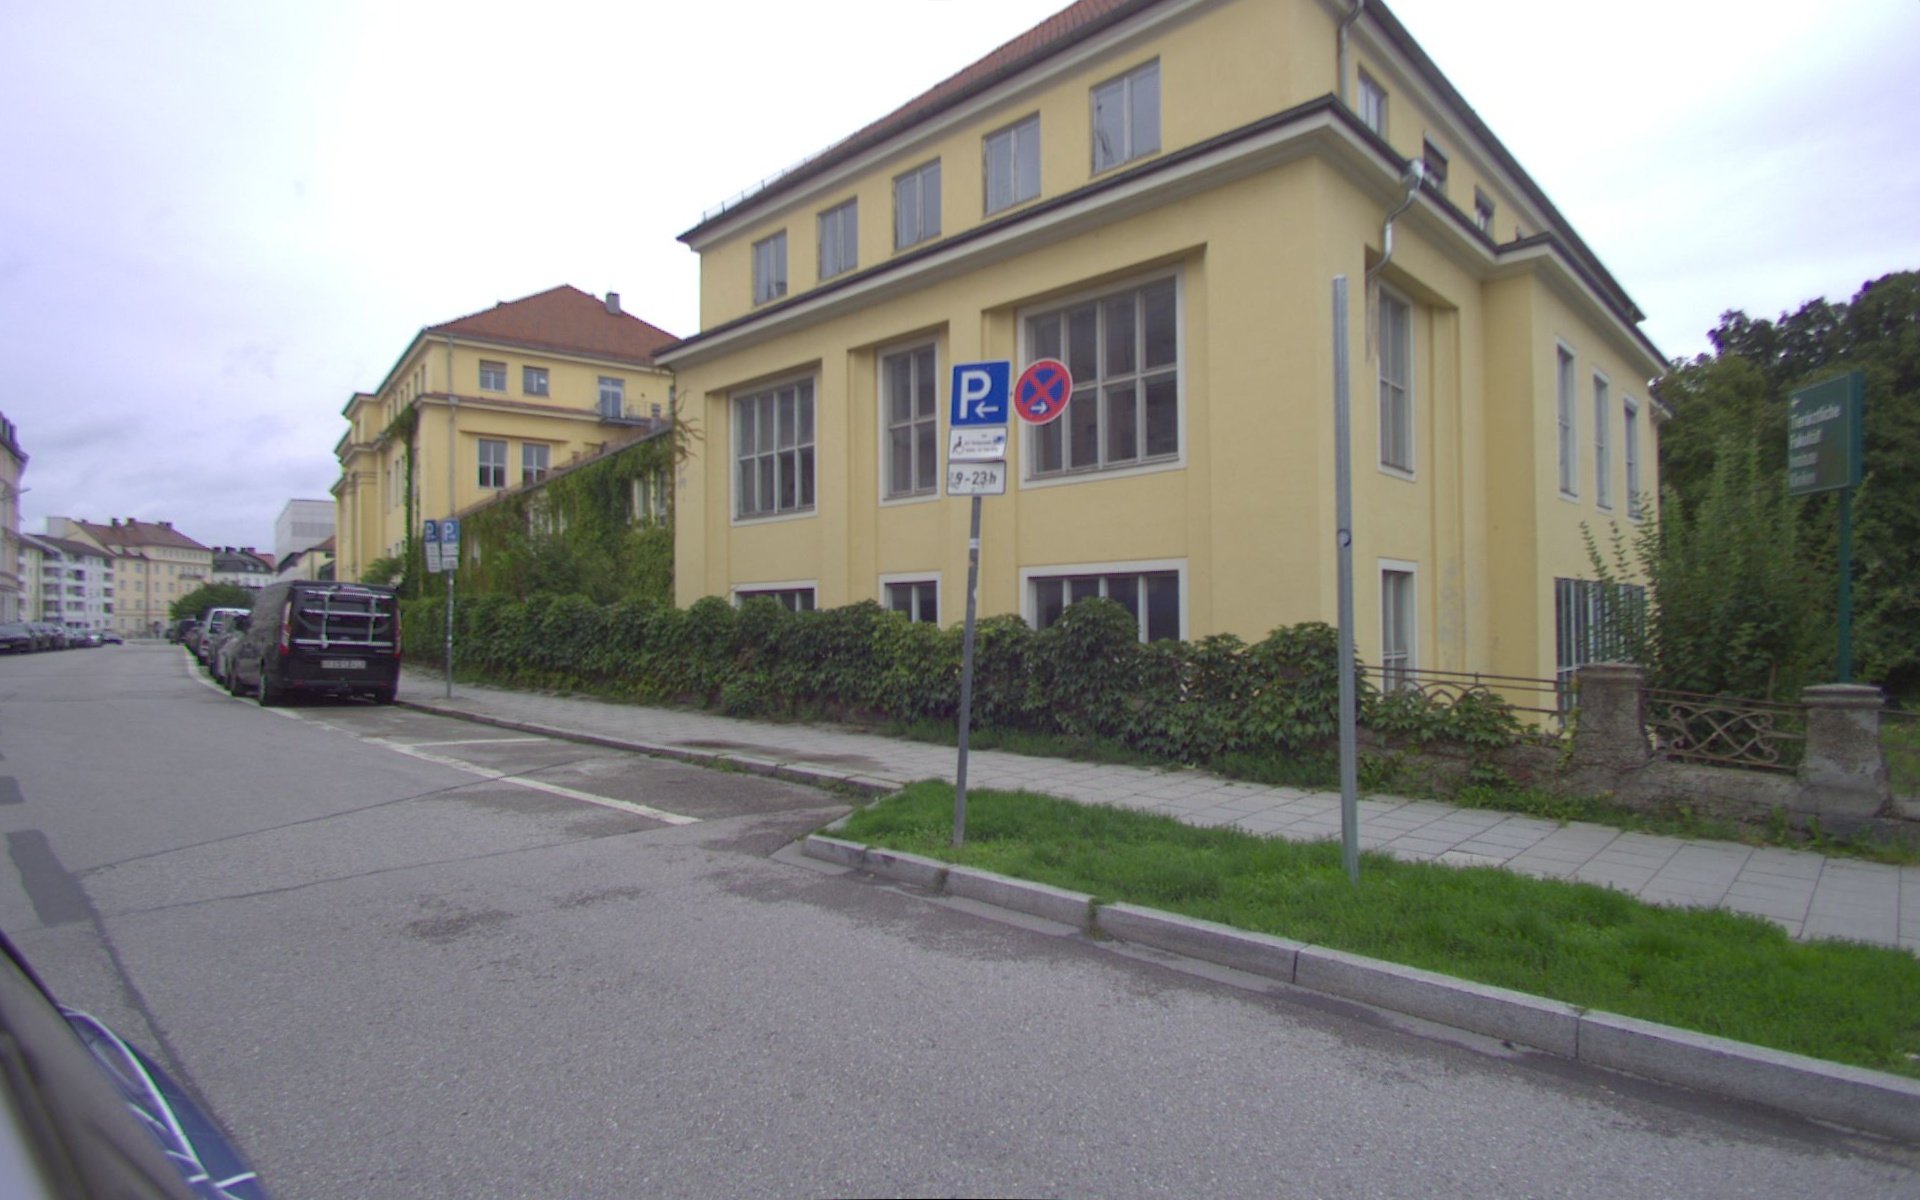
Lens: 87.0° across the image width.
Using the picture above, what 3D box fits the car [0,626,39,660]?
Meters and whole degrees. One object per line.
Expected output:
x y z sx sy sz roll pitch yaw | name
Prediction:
-43.981 2.006 46.753 1.849 1.458 4.708 -1 -1 -39 | car

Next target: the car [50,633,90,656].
-62.774 3.153 71.402 1.698 1.477 4.202 -2 -1 -36 | car

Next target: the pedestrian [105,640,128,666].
-98.224 6.157 117.841 1.900 2.973 2.029 2 -3 -38 | pedestrian

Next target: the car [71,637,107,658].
-72.456 3.929 84.264 1.970 1.584 4.500 -2 -1 -37 | car

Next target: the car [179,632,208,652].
-63.495 3.485 83.809 1.746 1.566 4.218 5 -5 -37 | car

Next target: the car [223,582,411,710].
-11.562 0.841 18.048 1.902 1.994 4.627 5 -5 -43 | car

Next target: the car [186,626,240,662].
-34.360 2.025 46.529 1.695 1.492 4.227 6 -6 -39 | car

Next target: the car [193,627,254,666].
-28.424 1.800 39.012 1.645 1.420 3.565 5 -5 -39 | car

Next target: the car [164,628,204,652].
-86.511 4.458 112.773 2.806 2.571 6.898 2 -3 -44 | car

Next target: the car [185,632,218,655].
-51.959 2.972 69.327 1.711 1.450 3.787 5 -5 -37 | car

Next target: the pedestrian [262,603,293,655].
-23.658 1.002 35.084 0.832 1.768 0.874 1 -3 -37 | pedestrian

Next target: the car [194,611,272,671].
-24.892 1.420 34.593 1.868 1.812 4.890 6 -6 -37 | car

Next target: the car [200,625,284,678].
-21.634 1.514 30.415 1.780 1.388 4.500 7 -6 -37 | car

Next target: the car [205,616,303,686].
-18.310 1.307 26.160 1.680 1.619 4.499 5 -5 -38 | car

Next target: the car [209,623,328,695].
-15.132 1.278 22.056 1.685 1.376 4.008 6 -6 -39 | car

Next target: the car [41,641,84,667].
-58.735 3.490 66.294 1.741 1.552 4.008 -3 0 -37 | car
